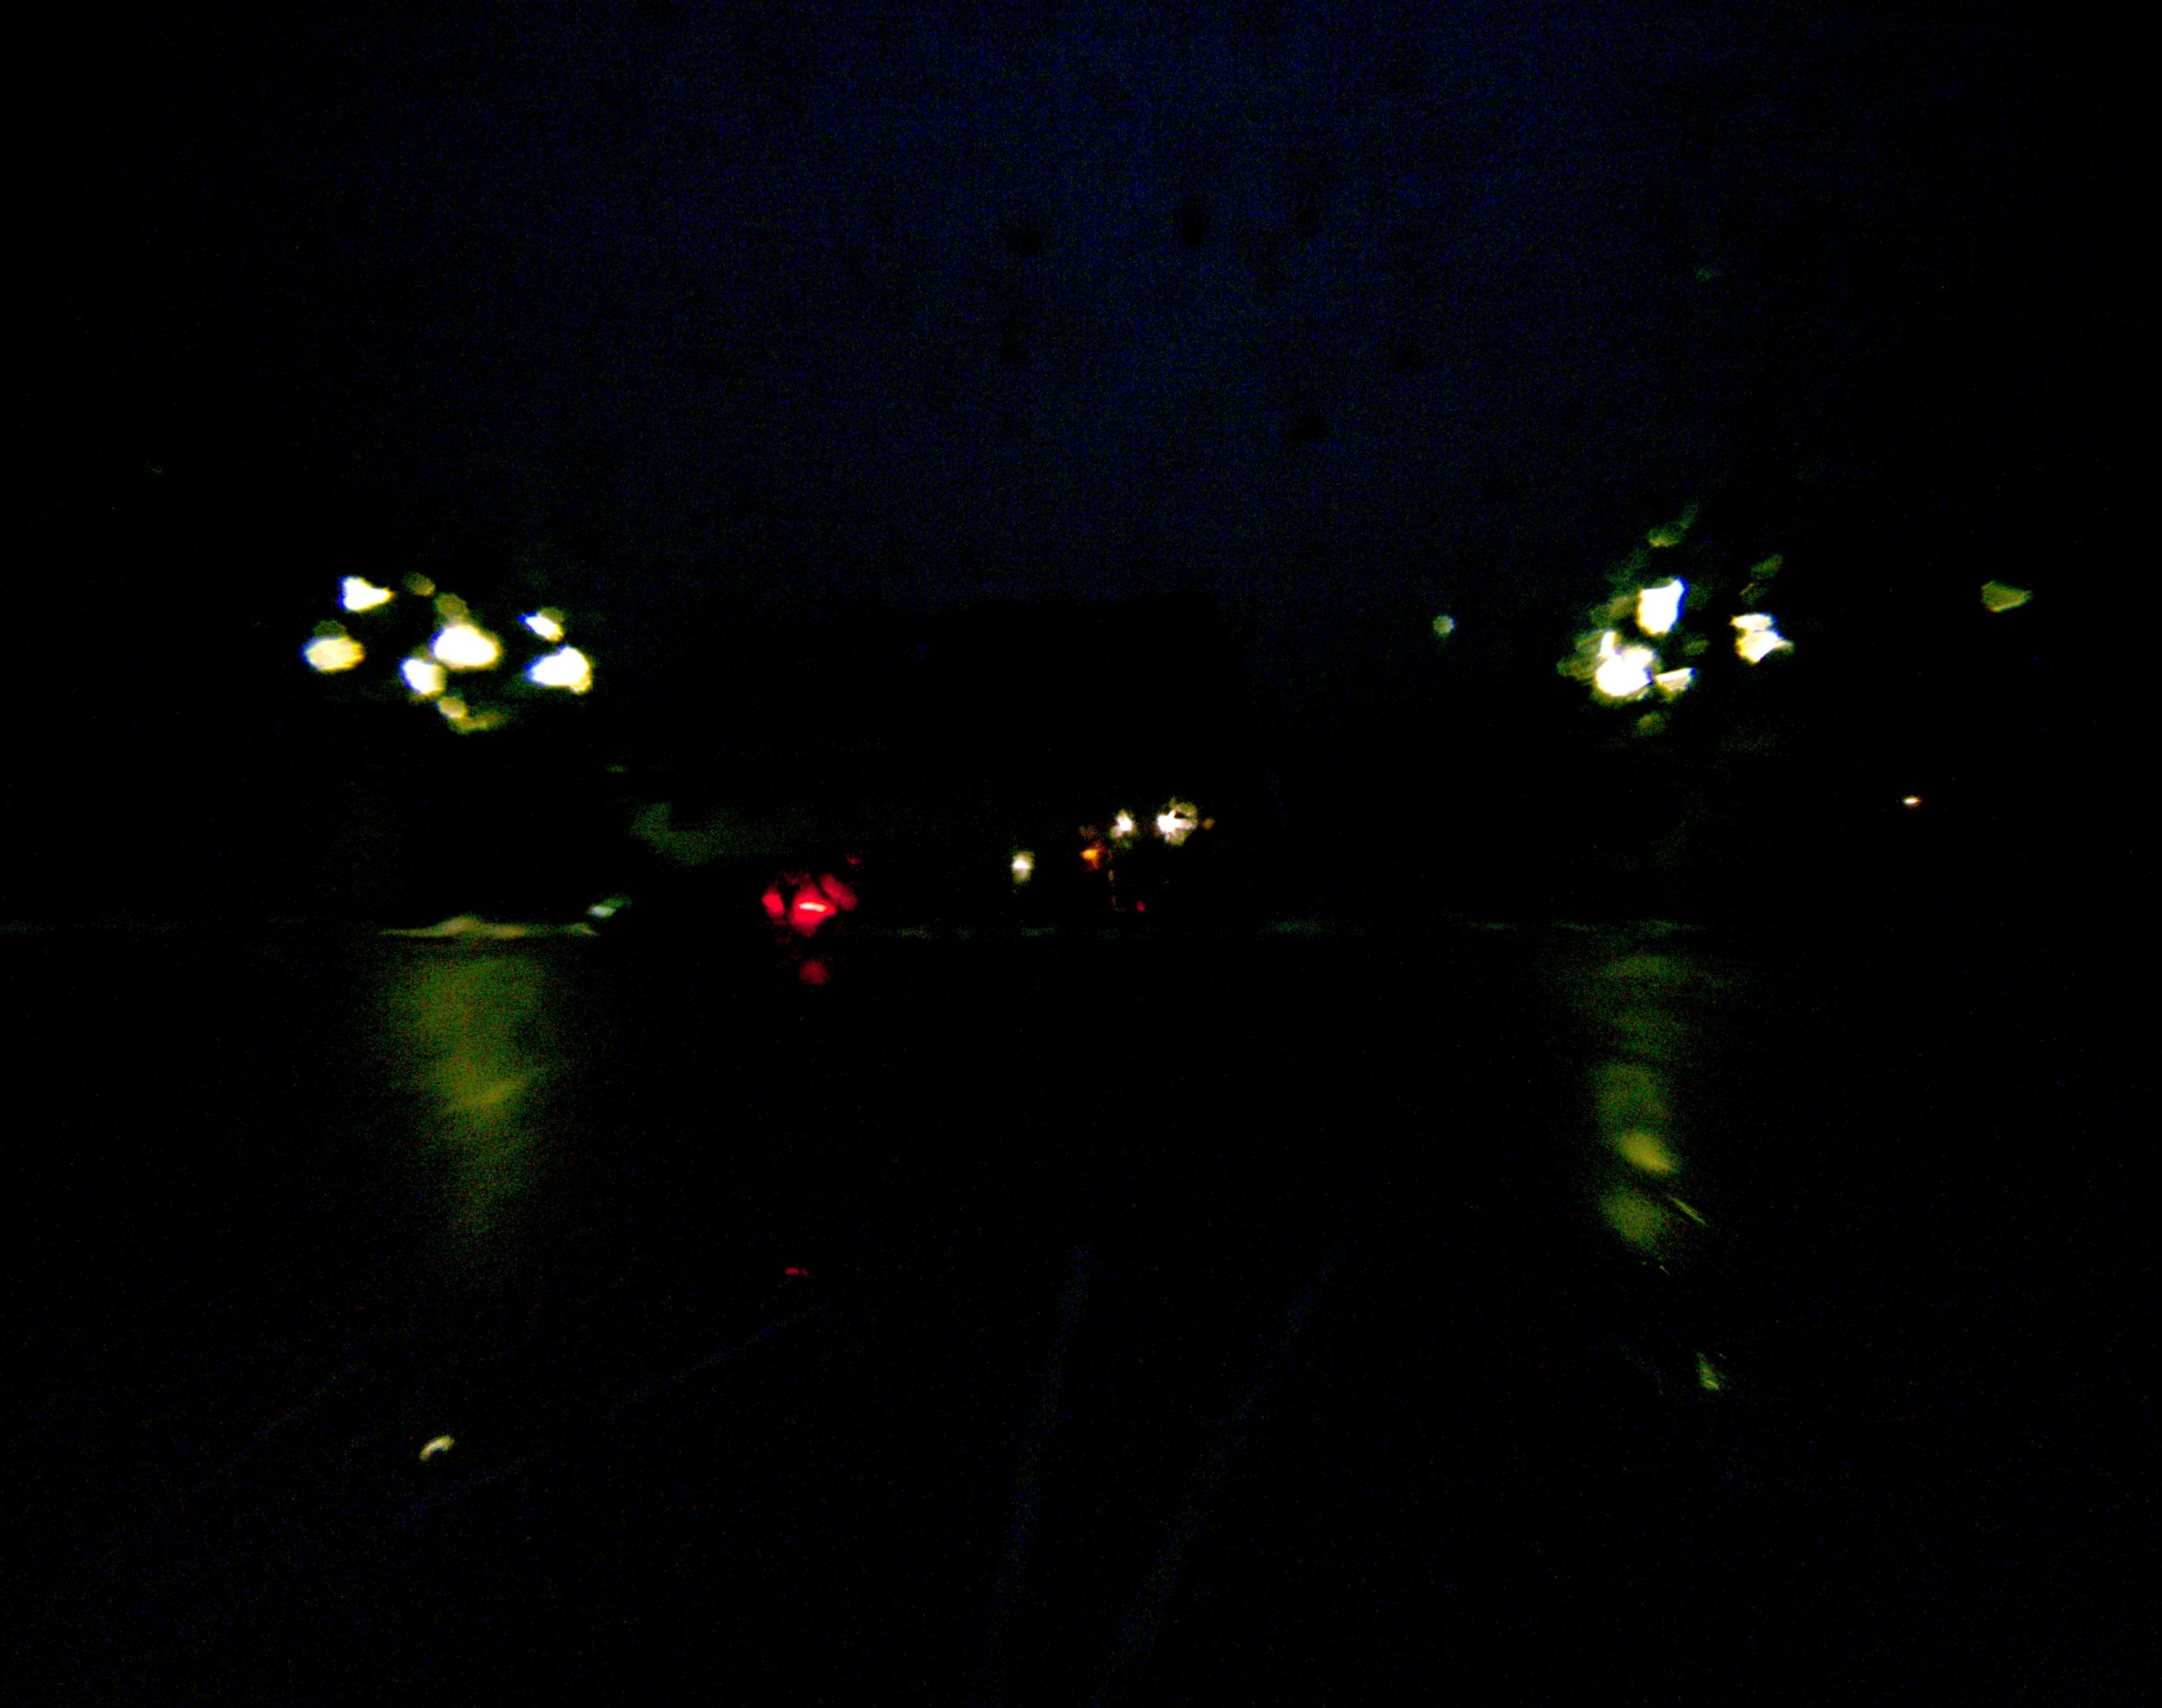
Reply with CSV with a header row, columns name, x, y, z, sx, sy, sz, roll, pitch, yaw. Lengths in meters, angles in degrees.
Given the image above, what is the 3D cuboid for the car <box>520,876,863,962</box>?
name,x,y,z,sx,sy,sz,roll,pitch,yaw
car,-6.546,1.082,13.318,4.933,1.373,1.999,1,-1,-6
